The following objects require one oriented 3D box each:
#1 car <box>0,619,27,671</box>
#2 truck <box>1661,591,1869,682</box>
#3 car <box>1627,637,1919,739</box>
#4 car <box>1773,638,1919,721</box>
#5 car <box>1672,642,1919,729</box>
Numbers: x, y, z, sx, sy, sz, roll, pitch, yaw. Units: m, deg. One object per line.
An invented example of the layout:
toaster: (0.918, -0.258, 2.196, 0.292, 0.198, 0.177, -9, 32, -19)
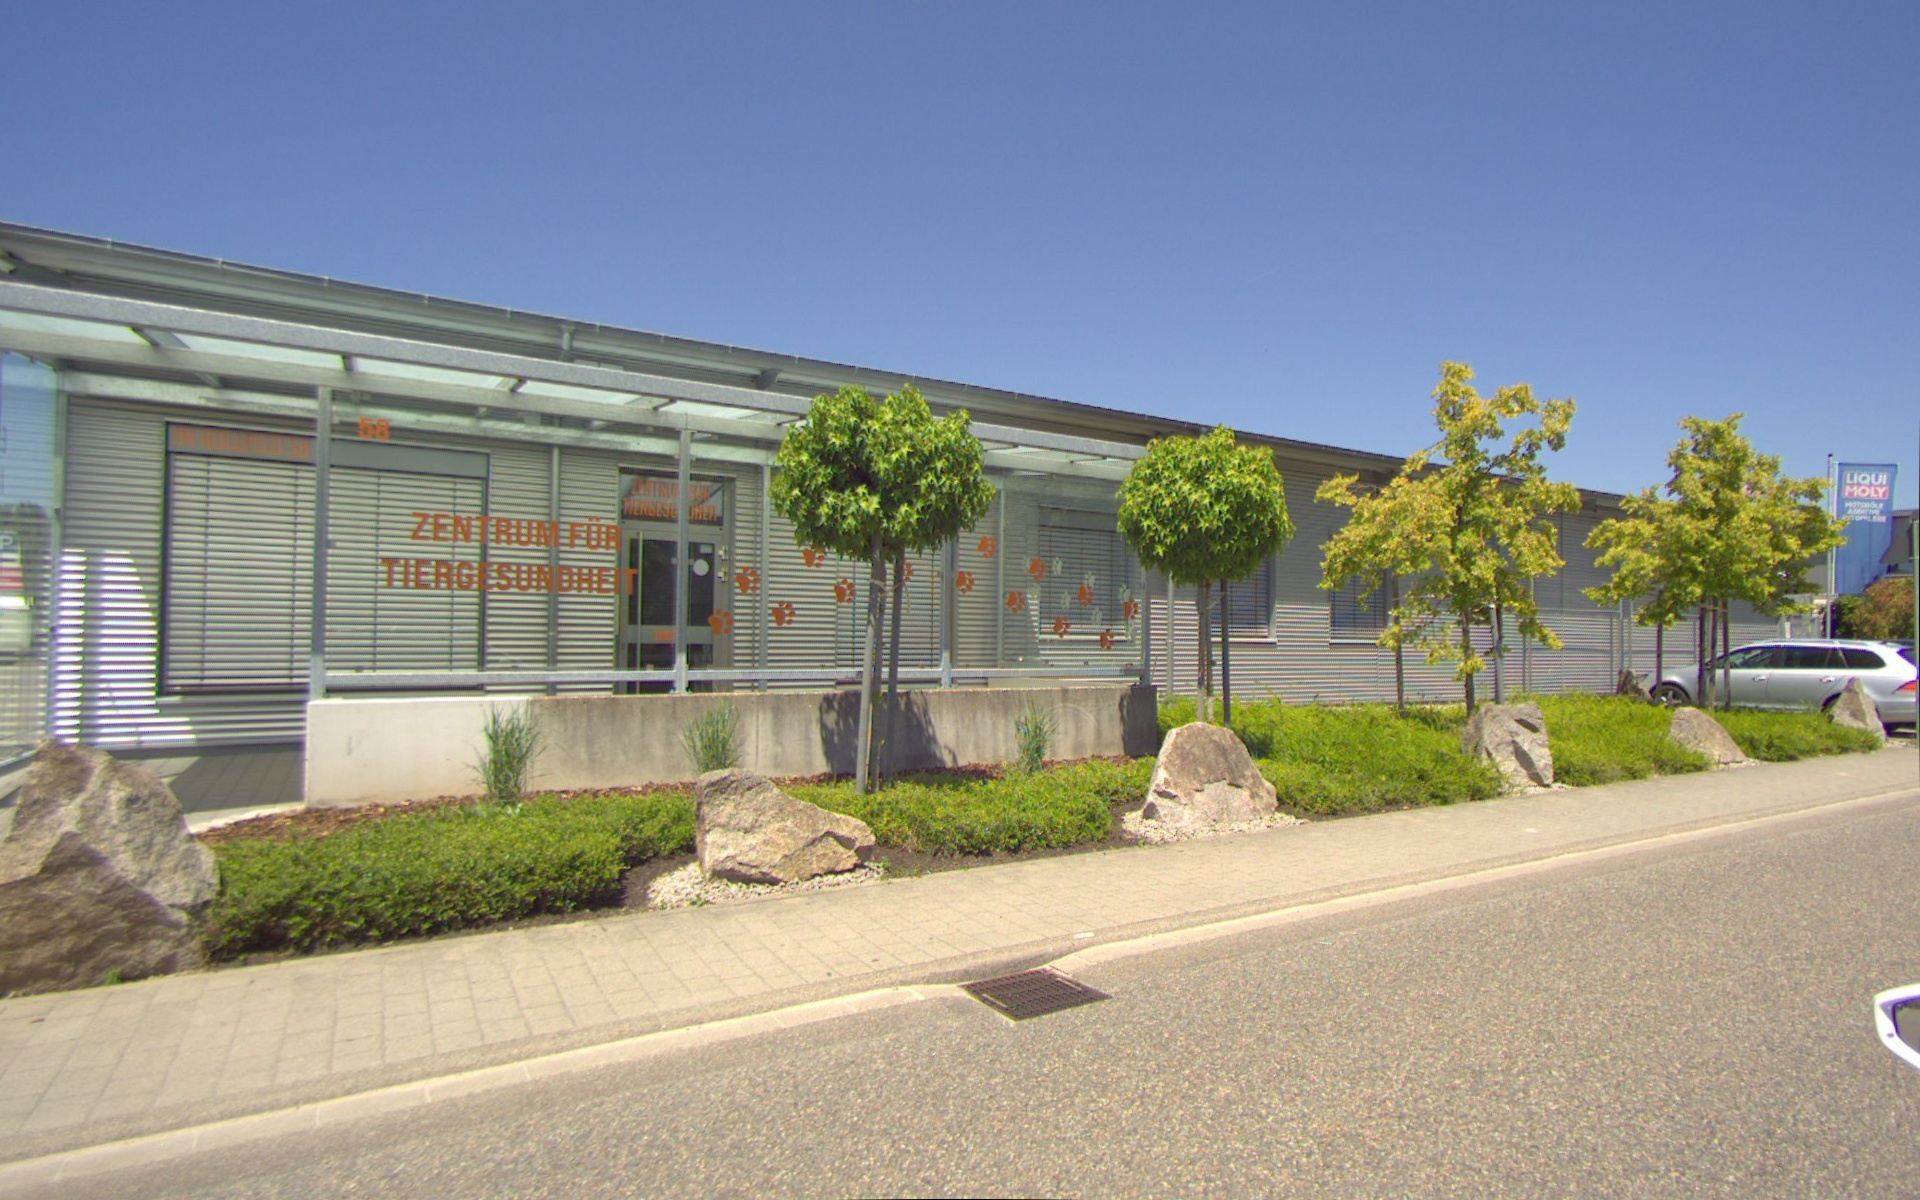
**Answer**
car: (-32.827, 1.422, 32.263, 3.963, 1.669, 1.979, 2, -2, -37)
truck: (35.102, 1.540, 44.315, 2.536, 3.604, 8.063, 1, -1, -2)
car: (14.364, 1.431, 17.482, 1.845, 1.538, 4.240, 2, -2, -31)
car: (18.206, 1.546, 20.061, 1.518, 1.538, 2.727, 2, -2, -31)
car: (16.377, 1.558, 19.104, 1.824, 1.450, 4.290, 2, -2, -29)
